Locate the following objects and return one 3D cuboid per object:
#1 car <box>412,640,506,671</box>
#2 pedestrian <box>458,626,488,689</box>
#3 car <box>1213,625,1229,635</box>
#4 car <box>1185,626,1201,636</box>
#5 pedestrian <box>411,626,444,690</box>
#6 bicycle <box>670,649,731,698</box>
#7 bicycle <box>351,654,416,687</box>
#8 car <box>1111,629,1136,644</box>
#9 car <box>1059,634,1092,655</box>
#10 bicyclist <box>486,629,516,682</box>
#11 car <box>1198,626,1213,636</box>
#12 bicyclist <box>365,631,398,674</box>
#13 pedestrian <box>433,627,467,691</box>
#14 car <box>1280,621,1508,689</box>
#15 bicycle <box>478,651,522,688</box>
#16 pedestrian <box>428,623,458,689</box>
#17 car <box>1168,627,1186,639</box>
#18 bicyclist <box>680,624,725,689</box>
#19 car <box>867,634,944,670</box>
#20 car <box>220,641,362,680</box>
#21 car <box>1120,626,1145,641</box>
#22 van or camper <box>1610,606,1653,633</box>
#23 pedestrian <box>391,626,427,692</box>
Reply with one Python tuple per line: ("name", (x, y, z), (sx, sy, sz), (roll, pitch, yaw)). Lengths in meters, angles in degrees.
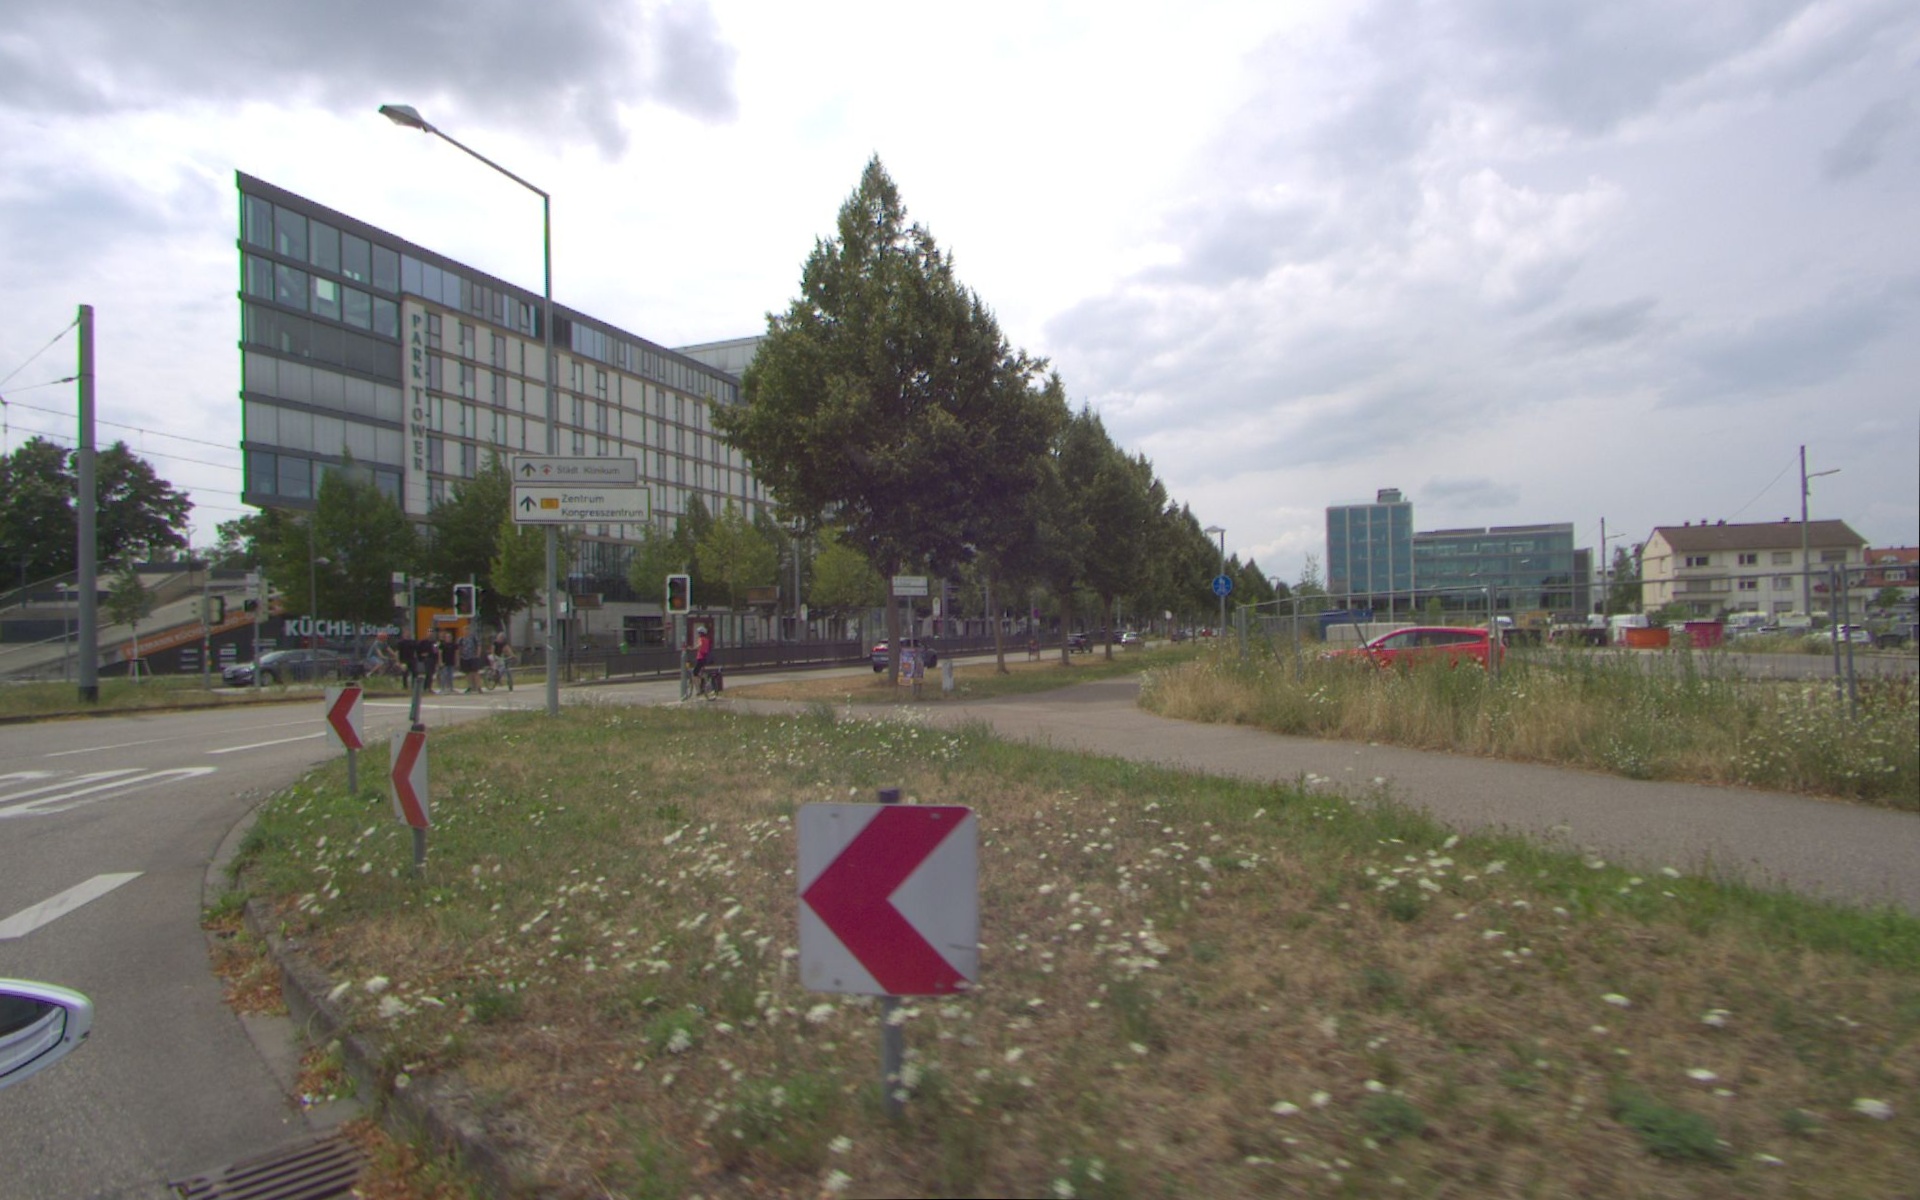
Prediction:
("car", (-25.032, 2.742, 50.187), (1.818, 1.476, 3.990), (-1, -2, 23))
("pedestrian", (-14.195, 1.675, 29.200), (0.543, 1.804, 0.580), (0, -1, 16))
("car", (44.248, 5.115, 169.758), (1.966, 1.638, 4.742), (-1, -2, 22))
("car", (35.642, 4.788, 152.845), (1.771, 1.516, 4.251), (-1, -2, 22))
("pedestrian", (-15.169, 1.647, 28.527), (0.543, 1.804, 0.633), (0, -1, 16))
("bicycle", (-6.816, 1.905, 26.236), (0.783, 1.183, 2.025), (0, -1, -40))
("bicycle", (-18.455, 2.247, 32.050), (1.722, 1.020, 0.654), (0, -1, 4))
("car", (17.630, 3.878, 107.984), (1.703, 1.553, 4.362), (-1, -2, 22))
("car", (8.983, 3.416, 77.608), (1.710, 1.538, 4.140), (-1, -2, 19))
("bicyclist", (-14.008, 1.689, 30.554), (0.756, 1.601, 0.556), (-1, -1, 39))
("car", (43.457, 5.521, 177.289), (1.965, 1.638, 4.744), (-1, -2, 20))
("bicyclist", (-18.524, 1.675, 32.079), (0.662, 1.334, 0.640), (0, -1, 5))
("pedestrian", (-14.547, 1.673, 28.587), (0.543, 1.804, 0.689), (0, -1, 16))
("car", (10.805, 1.381, 25.333), (5.045, 1.624, 1.788), (-1, -1, 15))
("bicycle", (-14.081, 2.120, 30.613), (1.693, 1.072, 0.544), (-2, -2, 40))
("pedestrian", (-15.098, 1.627, 29.246), (0.543, 1.886, 0.531), (0, -1, 16))
("car", (27.175, 4.151, 125.280), (1.770, 1.516, 4.110), (-1, -2, 19))
("bicyclist", (-6.719, 1.455, 26.119), (0.782, 1.648, 1.041), (0, -1, -39))
("car", (-2.503, 2.416, 46.990), (2.028, 1.571, 4.467), (-1, -1, 20))
("car", (-27.845, 2.472, 41.855), (1.817, 1.476, 4.727), (-1, -2, 22))
("car", (16.867, 3.252, 97.829), (1.798, 1.481, 4.254), (-1, -2, 19))
("van or camper", (71.844, 2.107, 107.210), (2.309, 2.722, 5.240), (-1, -2, 17))
("pedestrian", (-15.270, 1.630, 27.777), (0.543, 1.804, 0.689), (0, -1, 16))
